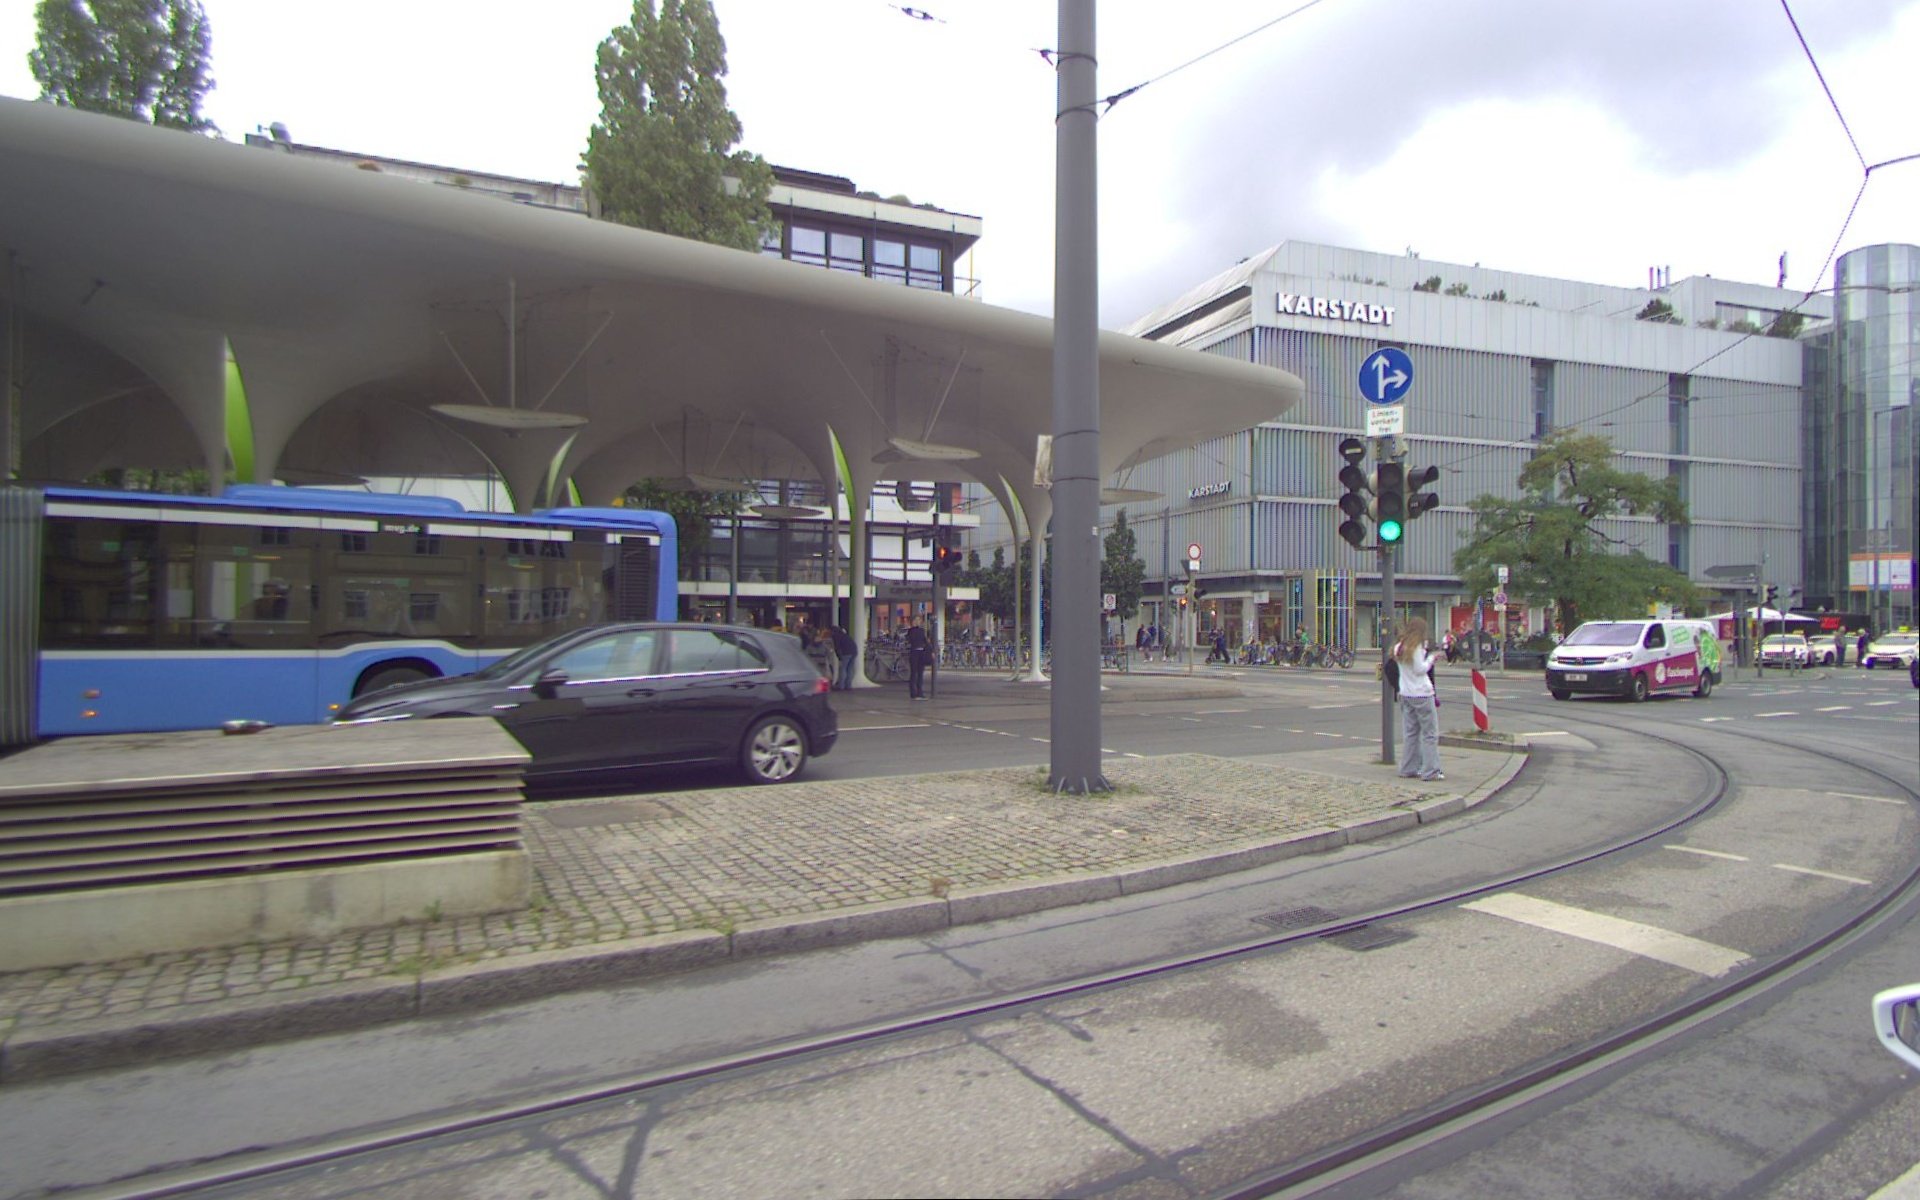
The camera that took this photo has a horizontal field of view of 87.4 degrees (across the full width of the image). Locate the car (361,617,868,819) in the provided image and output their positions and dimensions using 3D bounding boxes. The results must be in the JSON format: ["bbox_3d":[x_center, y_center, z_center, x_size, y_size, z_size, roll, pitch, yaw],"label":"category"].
[{"bbox_3d":[-3.015,0.896,9.017,3.992,1.435,1.832,1,-2,-33],"label":"car"}]

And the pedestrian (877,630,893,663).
[{"bbox_3d":[-3.612,2.221,48.322,0.589,1.555,0.503,1,-1,-26],"label":"pedestrian"}]

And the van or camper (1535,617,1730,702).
[{"bbox_3d":[16.276,1.373,24.227,5.380,1.850,1.918,1,-2,-32],"label":"van or camper"}]

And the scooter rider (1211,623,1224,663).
[{"bbox_3d":[12.213,2.034,47.676,0.597,1.863,0.556,0,-1,13],"label":"scooter rider"}]

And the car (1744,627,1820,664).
[{"bbox_3d":[36.497,1.983,44.563,4.382,1.556,1.975,1,-2,-43],"label":"car"}]

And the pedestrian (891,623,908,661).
[{"bbox_3d":[-2.887,1.995,47.989,0.679,1.824,0.592,1,-1,-20],"label":"pedestrian"}]

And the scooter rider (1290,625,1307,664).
[{"bbox_3d":[15.903,2.085,47.242,0.655,1.859,0.619,0,-1,29],"label":"scooter rider"}]

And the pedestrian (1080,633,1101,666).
[{"bbox_3d":[6.864,2.592,52.873,0.838,1.676,0.799,1,-1,-18],"label":"pedestrian"}]

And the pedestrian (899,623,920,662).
[{"bbox_3d":[-2.374,2.006,47.410,0.815,1.824,0.718,1,-1,-19],"label":"pedestrian"}]

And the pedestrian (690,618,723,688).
[{"bbox_3d":[-5.971,1.237,23.687,0.488,1.604,0.666,0,-1,12],"label":"pedestrian"}]

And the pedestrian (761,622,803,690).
[{"bbox_3d":[-4.192,1.296,23.595,0.787,1.550,0.730,1,-1,-27],"label":"pedestrian"}]

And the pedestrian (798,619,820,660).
[{"bbox_3d":[-7.614,1.967,50.696,0.904,2.040,0.831,1,-1,-22],"label":"pedestrian"}]

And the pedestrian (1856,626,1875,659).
[{"bbox_3d":[50.612,2.354,56.120,0.618,1.841,0.557,1,-1,-19],"label":"pedestrian"}]

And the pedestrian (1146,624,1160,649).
[{"bbox_3d":[12.413,2.360,64.621,0.646,1.573,0.678,1,-1,-21],"label":"pedestrian"}]

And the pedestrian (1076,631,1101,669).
[{"bbox_3d":[5.620,2.175,44.001,0.779,1.663,0.853,1,-1,-25],"label":"pedestrian"}]

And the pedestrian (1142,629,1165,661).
[{"bbox_3d":[9.984,2.318,51.966,0.934,1.609,0.739,0,-1,-18],"label":"pedestrian"}]

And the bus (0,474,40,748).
[{"bbox_3d":[-15.193,0.047,8.577,10.397,3.047,2.647,1,-3,-32],"label":"bus"}]

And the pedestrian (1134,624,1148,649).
[{"bbox_3d":[11.581,2.343,64.162,0.646,1.573,0.678,1,-1,-21],"label":"pedestrian"}]

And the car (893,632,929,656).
[{"bbox_3d":[-4.395,3.929,90.227,2.142,2.087,3.982,1,-2,-21],"label":"car"}]

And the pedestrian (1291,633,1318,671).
[{"bbox_3d":[15.103,2.268,44.058,0.804,1.640,0.831,1,-1,-44],"label":"pedestrian"}]

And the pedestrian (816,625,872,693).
[{"bbox_3d":[-2.591,1.303,22.408,1.013,1.472,0.847,1,-1,-30],"label":"pedestrian"}]

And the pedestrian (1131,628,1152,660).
[{"bbox_3d":[9.519,2.300,52.769,0.838,1.676,0.799,0,-1,-18],"label":"pedestrian"}]

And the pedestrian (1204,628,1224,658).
[{"bbox_3d":[14.352,2.418,56.735,0.774,1.710,0.784,1,-1,-25],"label":"pedestrian"}]

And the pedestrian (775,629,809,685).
[{"bbox_3d":[-3.793,1.277,22.703,0.605,1.252,0.535,1,-1,-30],"label":"pedestrian"}]

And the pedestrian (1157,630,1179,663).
[{"bbox_3d":[10.530,2.339,50.915,0.844,1.664,0.786,0,-1,-18],"label":"pedestrian"}]

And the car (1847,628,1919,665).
[{"bbox_3d":[41.110,1.999,44.123,4.339,1.563,1.893,1,-2,-29],"label":"car"}]

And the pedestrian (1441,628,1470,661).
[{"bbox_3d":[24.296,2.184,49.251,0.962,1.602,0.796,1,-1,-19],"label":"pedestrian"}]

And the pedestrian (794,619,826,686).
[{"bbox_3d":[-3.701,1.279,24.808,0.616,1.632,0.594,1,-1,-26],"label":"pedestrian"}]

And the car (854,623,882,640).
[{"bbox_3d":[-9.643,3.264,104.924,1.970,1.684,3.982,1,-1,-20],"label":"car"}]

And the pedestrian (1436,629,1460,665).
[{"bbox_3d":[21.910,2.090,45.093,0.709,1.595,0.638,1,-1,-15],"label":"pedestrian"}]

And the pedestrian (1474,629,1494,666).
[{"bbox_3d":[24.680,2.246,47.304,0.774,1.710,0.862,0,-1,26],"label":"pedestrian"}]

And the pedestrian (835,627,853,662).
[{"bbox_3d":[-5.328,2.029,46.080,0.663,1.613,0.592,1,-1,-20],"label":"pedestrian"}]

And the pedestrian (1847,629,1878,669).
[{"bbox_3d":[39.333,2.119,43.779,0.741,1.713,0.768,1,-1,-25],"label":"pedestrian"}]

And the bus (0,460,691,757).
[{"bbox_3d":[-7.567,0.208,13.180,7.424,3.047,2.649,1,-3,-30],"label":"bus"}]

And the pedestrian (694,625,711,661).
[{"bbox_3d":[-11.718,1.937,45.734,0.663,1.613,0.592,1,-1,-21],"label":"pedestrian"}]

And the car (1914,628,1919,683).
[{"bbox_3d":[28.923,1.574,28.510,4.234,1.528,1.655,1,-2,-32],"label":"car"}]

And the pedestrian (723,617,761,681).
[{"bbox_3d":[-5.105,1.142,23.563,0.539,1.477,0.875,0,-1,12],"label":"pedestrian"}]

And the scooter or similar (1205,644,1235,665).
[{"bbox_3d":[12.316,2.589,47.659,1.375,0.995,0.415,0,-1,13],"label":"scooter or similar"}]
